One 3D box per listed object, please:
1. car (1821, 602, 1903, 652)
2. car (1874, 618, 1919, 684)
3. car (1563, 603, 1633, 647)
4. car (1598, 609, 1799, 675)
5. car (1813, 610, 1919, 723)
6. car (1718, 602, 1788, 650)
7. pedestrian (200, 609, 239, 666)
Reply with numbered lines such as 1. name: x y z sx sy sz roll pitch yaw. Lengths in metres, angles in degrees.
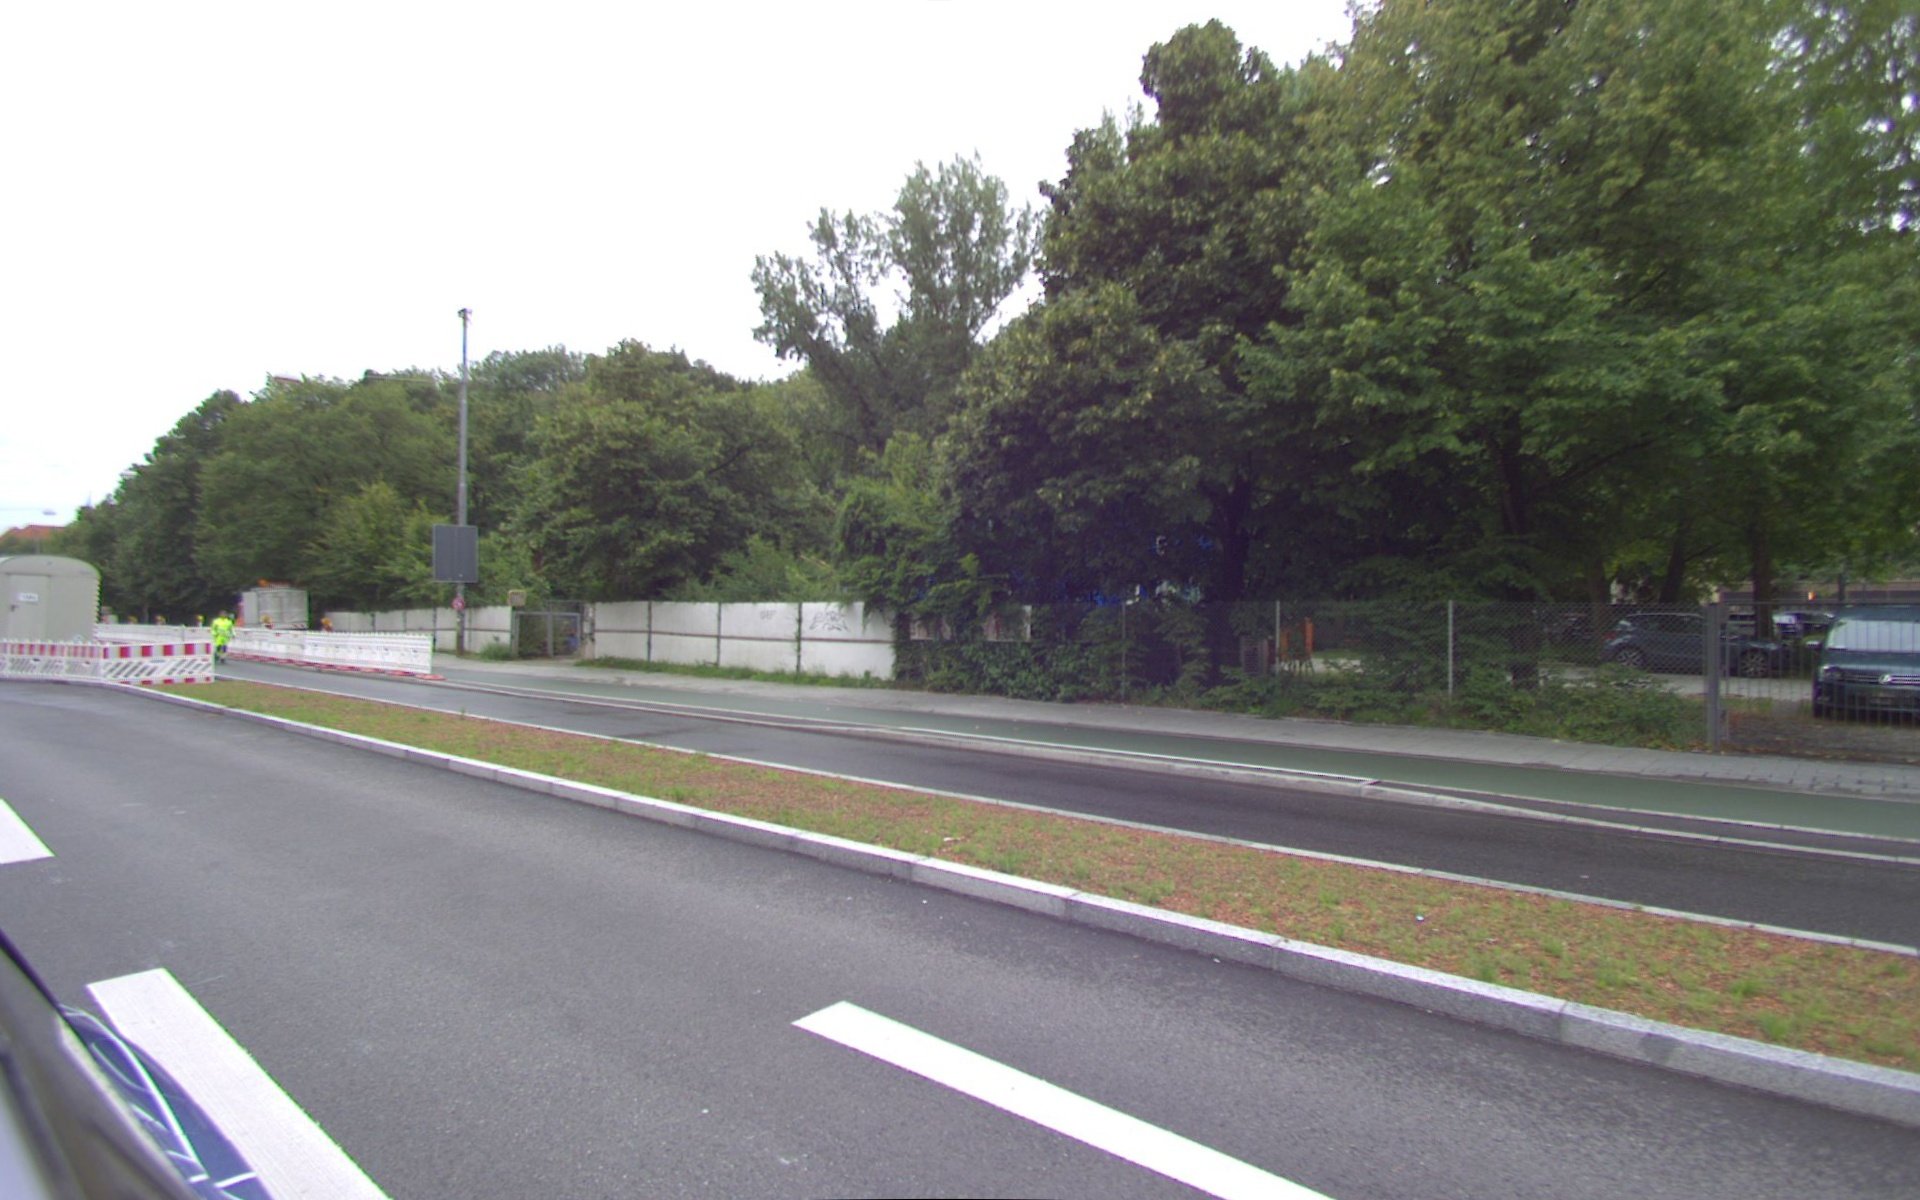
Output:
1. car: 33.025 0.968 37.157 1.998 1.732 3.948 -1 -2 39
2. car: 23.017 1.123 21.981 4.631 1.452 1.972 -1 -2 41
3. car: 26.612 1.021 42.149 1.998 1.732 3.948 -1 -2 39
4. car: 18.696 1.031 25.713 3.997 1.556 1.752 -1 -2 40
5. car: 14.999 0.985 15.939 4.095 1.601 1.807 2 -2 -42
6. car: 30.649 0.988 39.111 1.998 1.732 3.948 -1 -2 39
7. pedestrian: -25.752 1.292 35.201 0.874 1.956 0.878 -1 -2 39
